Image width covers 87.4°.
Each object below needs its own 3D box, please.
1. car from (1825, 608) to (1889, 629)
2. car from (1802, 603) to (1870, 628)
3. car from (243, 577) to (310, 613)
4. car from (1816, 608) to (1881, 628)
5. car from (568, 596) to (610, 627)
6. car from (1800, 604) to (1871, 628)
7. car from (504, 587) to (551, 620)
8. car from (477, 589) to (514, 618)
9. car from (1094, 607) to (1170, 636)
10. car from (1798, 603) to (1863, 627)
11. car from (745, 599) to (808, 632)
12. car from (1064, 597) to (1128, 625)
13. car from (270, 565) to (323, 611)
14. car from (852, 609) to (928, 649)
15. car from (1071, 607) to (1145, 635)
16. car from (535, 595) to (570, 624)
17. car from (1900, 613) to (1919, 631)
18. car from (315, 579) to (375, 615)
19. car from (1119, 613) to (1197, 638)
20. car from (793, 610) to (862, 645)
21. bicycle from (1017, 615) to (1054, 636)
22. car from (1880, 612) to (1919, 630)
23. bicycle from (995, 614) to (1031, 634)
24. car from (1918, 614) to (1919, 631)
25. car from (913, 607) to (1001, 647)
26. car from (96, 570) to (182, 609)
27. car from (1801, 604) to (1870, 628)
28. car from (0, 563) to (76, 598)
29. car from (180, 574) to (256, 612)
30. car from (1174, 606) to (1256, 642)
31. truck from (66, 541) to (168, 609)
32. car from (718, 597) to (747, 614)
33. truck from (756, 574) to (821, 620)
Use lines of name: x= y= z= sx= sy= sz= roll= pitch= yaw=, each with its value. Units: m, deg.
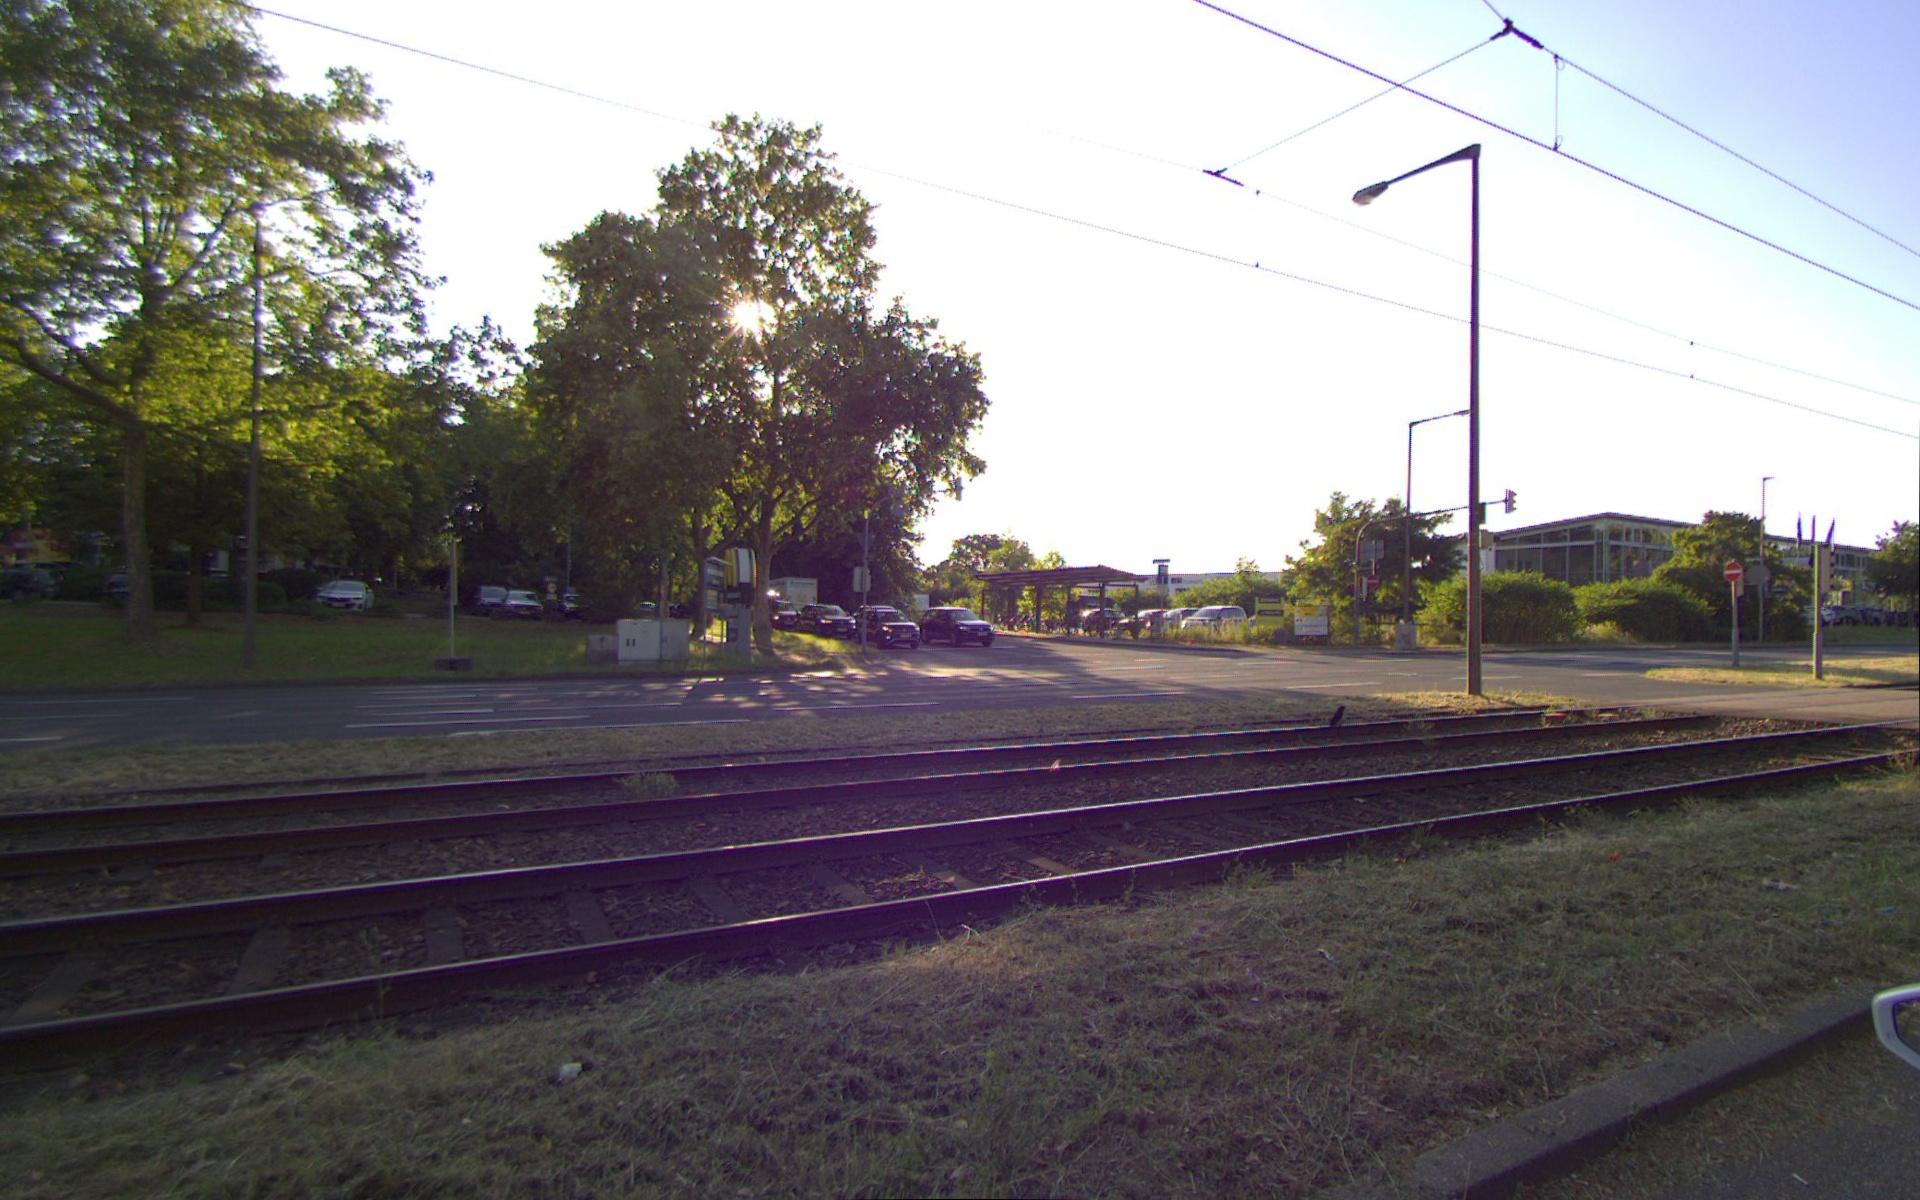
car: x=75.405 y=1.547 z=84.481 sx=3.940 sy=1.577 sz=1.735 roll=1 pitch=0 yaw=40
car: x=69.565 y=1.218 z=79.844 sx=3.940 sy=1.840 sz=1.735 roll=1 pitch=0 yaw=40
car: x=-30.872 y=-0.229 z=45.480 sx=1.916 sy=1.530 sz=4.071 roll=2 pitch=0 yaw=-26
car: x=73.188 y=1.460 z=82.810 sx=3.940 sy=1.577 sz=1.735 roll=1 pitch=0 yaw=40
car: x=-19.204 y=0.568 z=51.878 sx=1.604 sy=1.477 sz=3.878 roll=2 pitch=0 yaw=-27
car: x=66.386 y=1.184 z=76.228 sx=3.940 sy=1.727 sz=1.735 roll=1 pitch=0 yaw=40
car: x=-21.699 y=0.166 z=50.325 sx=1.916 sy=1.530 sz=4.071 roll=2 pitch=0 yaw=-26
car: x=-27.348 y=0.191 z=59.223 sx=1.836 sy=1.637 sz=4.036 roll=2 pitch=0 yaw=-23
car: x=10.049 y=1.225 z=58.580 sx=4.123 sy=1.604 sz=1.853 roll=1 pitch=0 yaw=-30
car: x=70.648 y=1.232 z=81.586 sx=3.940 sy=1.840 sz=1.735 roll=1 pitch=0 yaw=40
car: x=-9.979 y=0.818 z=54.402 sx=1.824 sy=1.656 sz=4.270 roll=1 pitch=0 yaw=-34
car: x=10.490 y=0.856 z=77.445 sx=4.715 sy=2.041 sz=1.853 roll=1 pitch=0 yaw=-30
car: x=-36.069 y=-0.652 z=54.723 sx=2.138 sy=2.334 sz=4.369 roll=2 pitch=0 yaw=-31
car: x=-2.969 y=1.187 z=41.800 sx=1.735 sy=1.578 sz=3.945 roll=1 pitch=-2 yaw=-27
car: x=8.942 y=1.233 z=60.773 sx=4.123 sy=1.604 sz=1.968 roll=1 pitch=0 yaw=-30
car: x=-24.939 y=0.561 z=61.442 sx=1.836 sy=1.637 sz=4.036 roll=2 pitch=0 yaw=-23
car: x=89.570 y=2.035 z=92.632 sx=1.725 sy=1.642 sz=3.962 roll=1 pitch=0 yaw=-34
car: x=-28.192 y=-0.138 z=46.166 sx=1.916 sy=1.530 sz=4.071 roll=2 pitch=0 yaw=-26
car: x=11.171 y=1.426 z=56.650 sx=4.123 sy=1.284 sz=1.853 roll=1 pitch=0 yaw=-30
car: x=-6.408 y=1.276 z=48.280 sx=1.717 sy=1.565 sz=4.298 roll=0 pitch=0 yaw=-31
bicycle: x=4.301 y=1.436 z=57.186 sx=2.004 sy=1.119 sz=0.777 roll=2 pitch=0 yaw=-30
car: x=86.102 y=1.938 z=90.887 sx=1.726 sy=1.577 sz=3.960 roll=1 pitch=0 yaw=-35
bicycle: x=3.156 y=1.414 z=59.820 sx=2.004 sy=1.119 sz=0.777 roll=2 pitch=0 yaw=-30
car: x=92.484 y=2.141 z=93.915 sx=1.725 sy=1.642 sz=3.962 roll=1 pitch=0 yaw=-34
car: x=-0.188 y=1.159 z=44.121 sx=1.857 sy=1.656 sz=4.332 roll=1 pitch=-1 yaw=-32
car: x=-34.843 y=-0.449 z=42.739 sx=1.916 sy=1.530 sz=4.071 roll=2 pitch=0 yaw=-26
car: x=67.930 y=1.227 z=78.030 sx=3.940 sy=1.727 sz=1.735 roll=1 pitch=0 yaw=40
car: x=-42.347 y=-0.898 z=45.037 sx=3.678 sy=1.482 sz=1.662 roll=3 pitch=-1 yaw=-28
car: x=-32.713 y=-0.295 z=44.405 sx=1.916 sy=1.530 sz=4.071 roll=2 pitch=0 yaw=-26
car: x=13.598 y=1.261 z=53.521 sx=4.123 sy=1.846 sz=1.853 roll=1 pitch=0 yaw=-30
truck: x=-43.283 y=-1.216 z=51.770 sx=2.468 sy=3.209 sz=6.187 roll=2 pitch=0 yaw=-26
car: x=-21.663 y=0.522 z=95.600 sx=1.711 sy=1.603 sz=4.028 roll=0 pitch=0 yaw=-27
truck: x=-13.827 y=-0.259 z=80.549 sx=2.782 sy=3.520 sz=8.291 roll=0 pitch=0 yaw=-27
